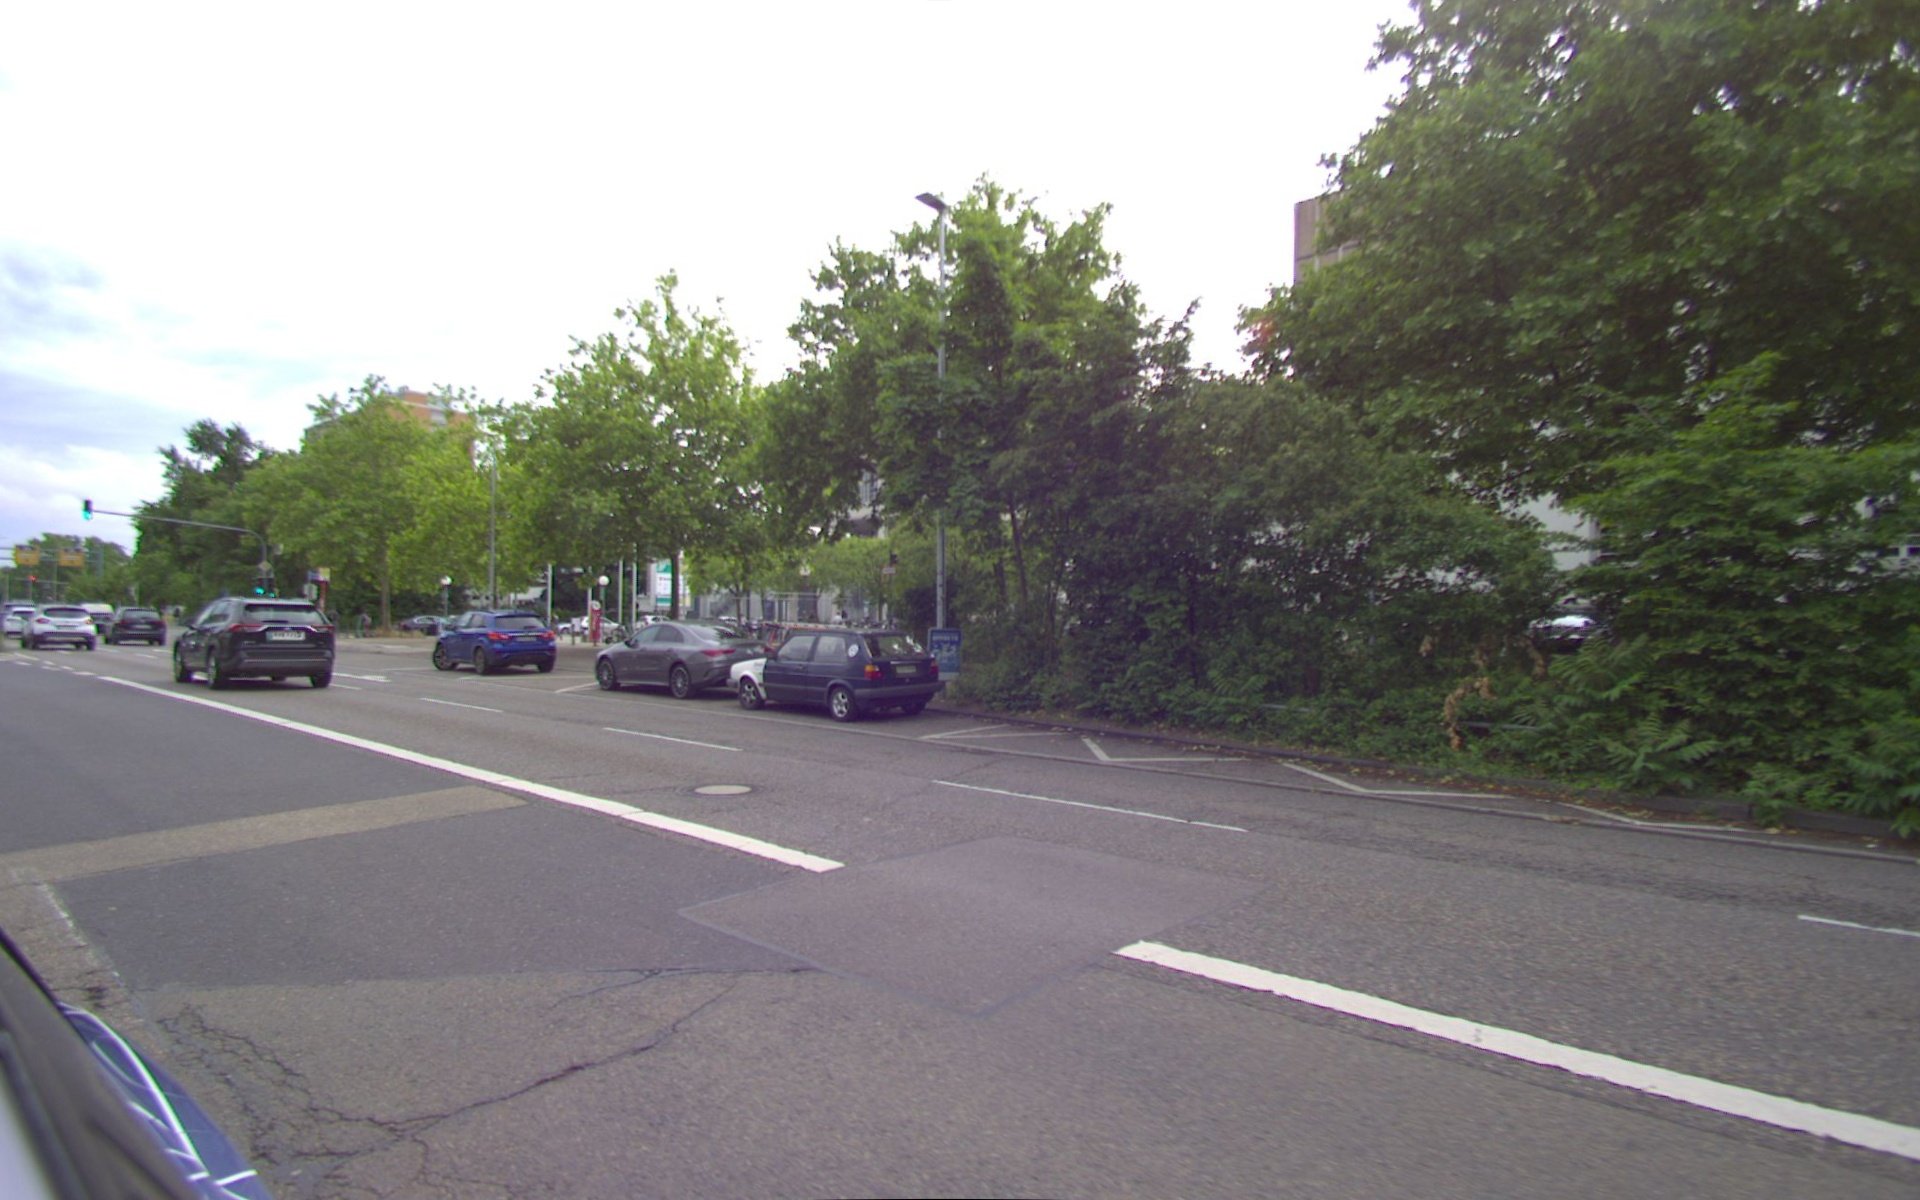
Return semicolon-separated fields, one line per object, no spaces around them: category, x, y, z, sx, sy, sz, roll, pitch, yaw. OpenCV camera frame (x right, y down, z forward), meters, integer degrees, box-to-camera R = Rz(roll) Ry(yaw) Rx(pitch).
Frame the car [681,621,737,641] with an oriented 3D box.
car;-20.018;2.500;80.848;1.888;1.565;3.944;-1;-2;42

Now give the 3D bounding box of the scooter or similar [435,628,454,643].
scooter or similar;-24.282;1.660;47.680;1.290;0.699;0.402;-1;0;45

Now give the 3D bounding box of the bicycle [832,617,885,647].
bicycle;-5.361;1.710;53.458;2.621;1.571;0.925;2;-2;-31

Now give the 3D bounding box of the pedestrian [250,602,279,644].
pedestrian;-34.154;1.135;49.676;1.009;2.029;0.885;-1;-2;40

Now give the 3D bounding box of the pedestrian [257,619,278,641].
pedestrian;-47.100;2.025;68.862;0.990;1.439;0.697;-1;0;14

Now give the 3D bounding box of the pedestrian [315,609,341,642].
pedestrian;-35.525;1.442;56.879;0.934;1.817;0.886;-1;-3;38

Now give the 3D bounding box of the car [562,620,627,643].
car;-26.434;2.258;73.261;1.999;1.591;3.946;-1;0;40

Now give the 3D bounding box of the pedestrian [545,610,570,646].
pedestrian;-23.196;1.611;58.291;1.091;2.029;0.788;0;-2;25

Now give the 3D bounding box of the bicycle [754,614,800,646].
bicycle;-9.172;1.504;50.820;0.919;1.571;2.426;-1;-2;31

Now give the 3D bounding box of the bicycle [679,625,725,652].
bicycle;-13.763;2.054;54.141;0.720;1.364;2.461;-1;-2;37

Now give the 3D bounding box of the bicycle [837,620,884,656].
bicycle;-4.591;1.735;46.655;0.720;1.606;2.376;-1;-2;37

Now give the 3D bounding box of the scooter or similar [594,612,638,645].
scooter or similar;-13.460;1.109;39.603;0.566;1.253;1.558;-1;-2;41

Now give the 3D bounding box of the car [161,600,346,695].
car;-13.562;0.850;19.321;4.515;1.605;1.883;-1;-2;42

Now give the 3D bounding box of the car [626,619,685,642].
car;-23.191;2.364;77.255;1.852;1.696;3.946;-1;-2;40

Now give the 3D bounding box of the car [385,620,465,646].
car;-33.945;2.065;64.285;1.997;1.483;4.102;-1;0;38

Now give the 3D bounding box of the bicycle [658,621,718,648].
bicycle;-12.098;1.537;45.132;0.720;1.183;2.720;-1;-2;38

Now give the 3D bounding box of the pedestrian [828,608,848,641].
pedestrian;-7.578;1.515;62.789;0.884;2.029;0.796;2;-2;-41

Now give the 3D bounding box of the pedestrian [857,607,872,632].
pedestrian;-7.857;1.567;83.163;0.942;2.029;0.788;0;-2;25

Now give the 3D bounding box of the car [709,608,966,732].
car;-2.066;1.025;16.459;3.999;1.702;1.973;-1;1;42

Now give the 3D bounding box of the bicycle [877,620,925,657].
bicycle;-2.591;1.701;44.884;0.720;1.606;2.376;-1;-2;37

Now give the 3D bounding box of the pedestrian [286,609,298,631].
pedestrian;-48.542;1.465;73.577;0.600;1.618;0.498;0;0;30

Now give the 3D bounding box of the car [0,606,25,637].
car;-55.342;1.234;58.198;4.948;1.700;1.972;-1;-1;43

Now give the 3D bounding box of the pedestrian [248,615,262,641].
pedestrian;-46.081;1.821;66.126;0.653;1.708;0.582;-1;-3;44

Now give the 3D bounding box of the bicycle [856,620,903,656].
bicycle;-3.627;1.719;45.990;0.720;1.606;2.376;-1;-2;37

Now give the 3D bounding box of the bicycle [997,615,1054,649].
bicycle;3.123;1.511;48.110;2.621;1.571;0.925;2;-2;-31

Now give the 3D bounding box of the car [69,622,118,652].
car;-51.869;2.178;60.568;3.999;1.702;1.680;-1;-2;42

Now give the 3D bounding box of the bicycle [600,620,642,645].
bicycle;-16.166;1.572;48.366;0.717;1.162;2.020;0;-2;24

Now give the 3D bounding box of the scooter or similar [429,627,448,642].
scooter or similar;-25.237;1.678;48.977;1.290;0.699;0.402;-1;0;45

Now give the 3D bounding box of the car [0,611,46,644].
car;-45.394;1.291;48.487;4.909;1.476;1.884;-1;0;42

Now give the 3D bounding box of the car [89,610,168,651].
car;-36.420;1.315;44.271;4.466;1.707;1.972;-1;-2;42

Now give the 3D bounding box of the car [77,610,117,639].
car;-57.631;1.610;67.551;1.751;1.862;4.492;-1;0;-44

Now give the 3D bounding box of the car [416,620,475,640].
car;-38.809;2.238;76.429;1.862;1.461;3.547;-1;-1;41

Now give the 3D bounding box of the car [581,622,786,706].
car;-5.565;1.170;20.007;1.852;1.435;4.731;1;-1;-44

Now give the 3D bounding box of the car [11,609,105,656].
car;-32.280;1.165;36.191;4.178;1.558;1.972;-1;-3;42

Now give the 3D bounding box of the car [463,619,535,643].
car;-30.946;2.069;67.979;1.997;1.483;3.949;-1;0;38

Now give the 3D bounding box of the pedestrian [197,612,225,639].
pedestrian;-56.369;1.897;76.132;1.343;2.029;1.175;-1;0;22

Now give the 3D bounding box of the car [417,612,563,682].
car;-12.245;1.151;26.224;4.593;1.620;1.838;-1;0;43
